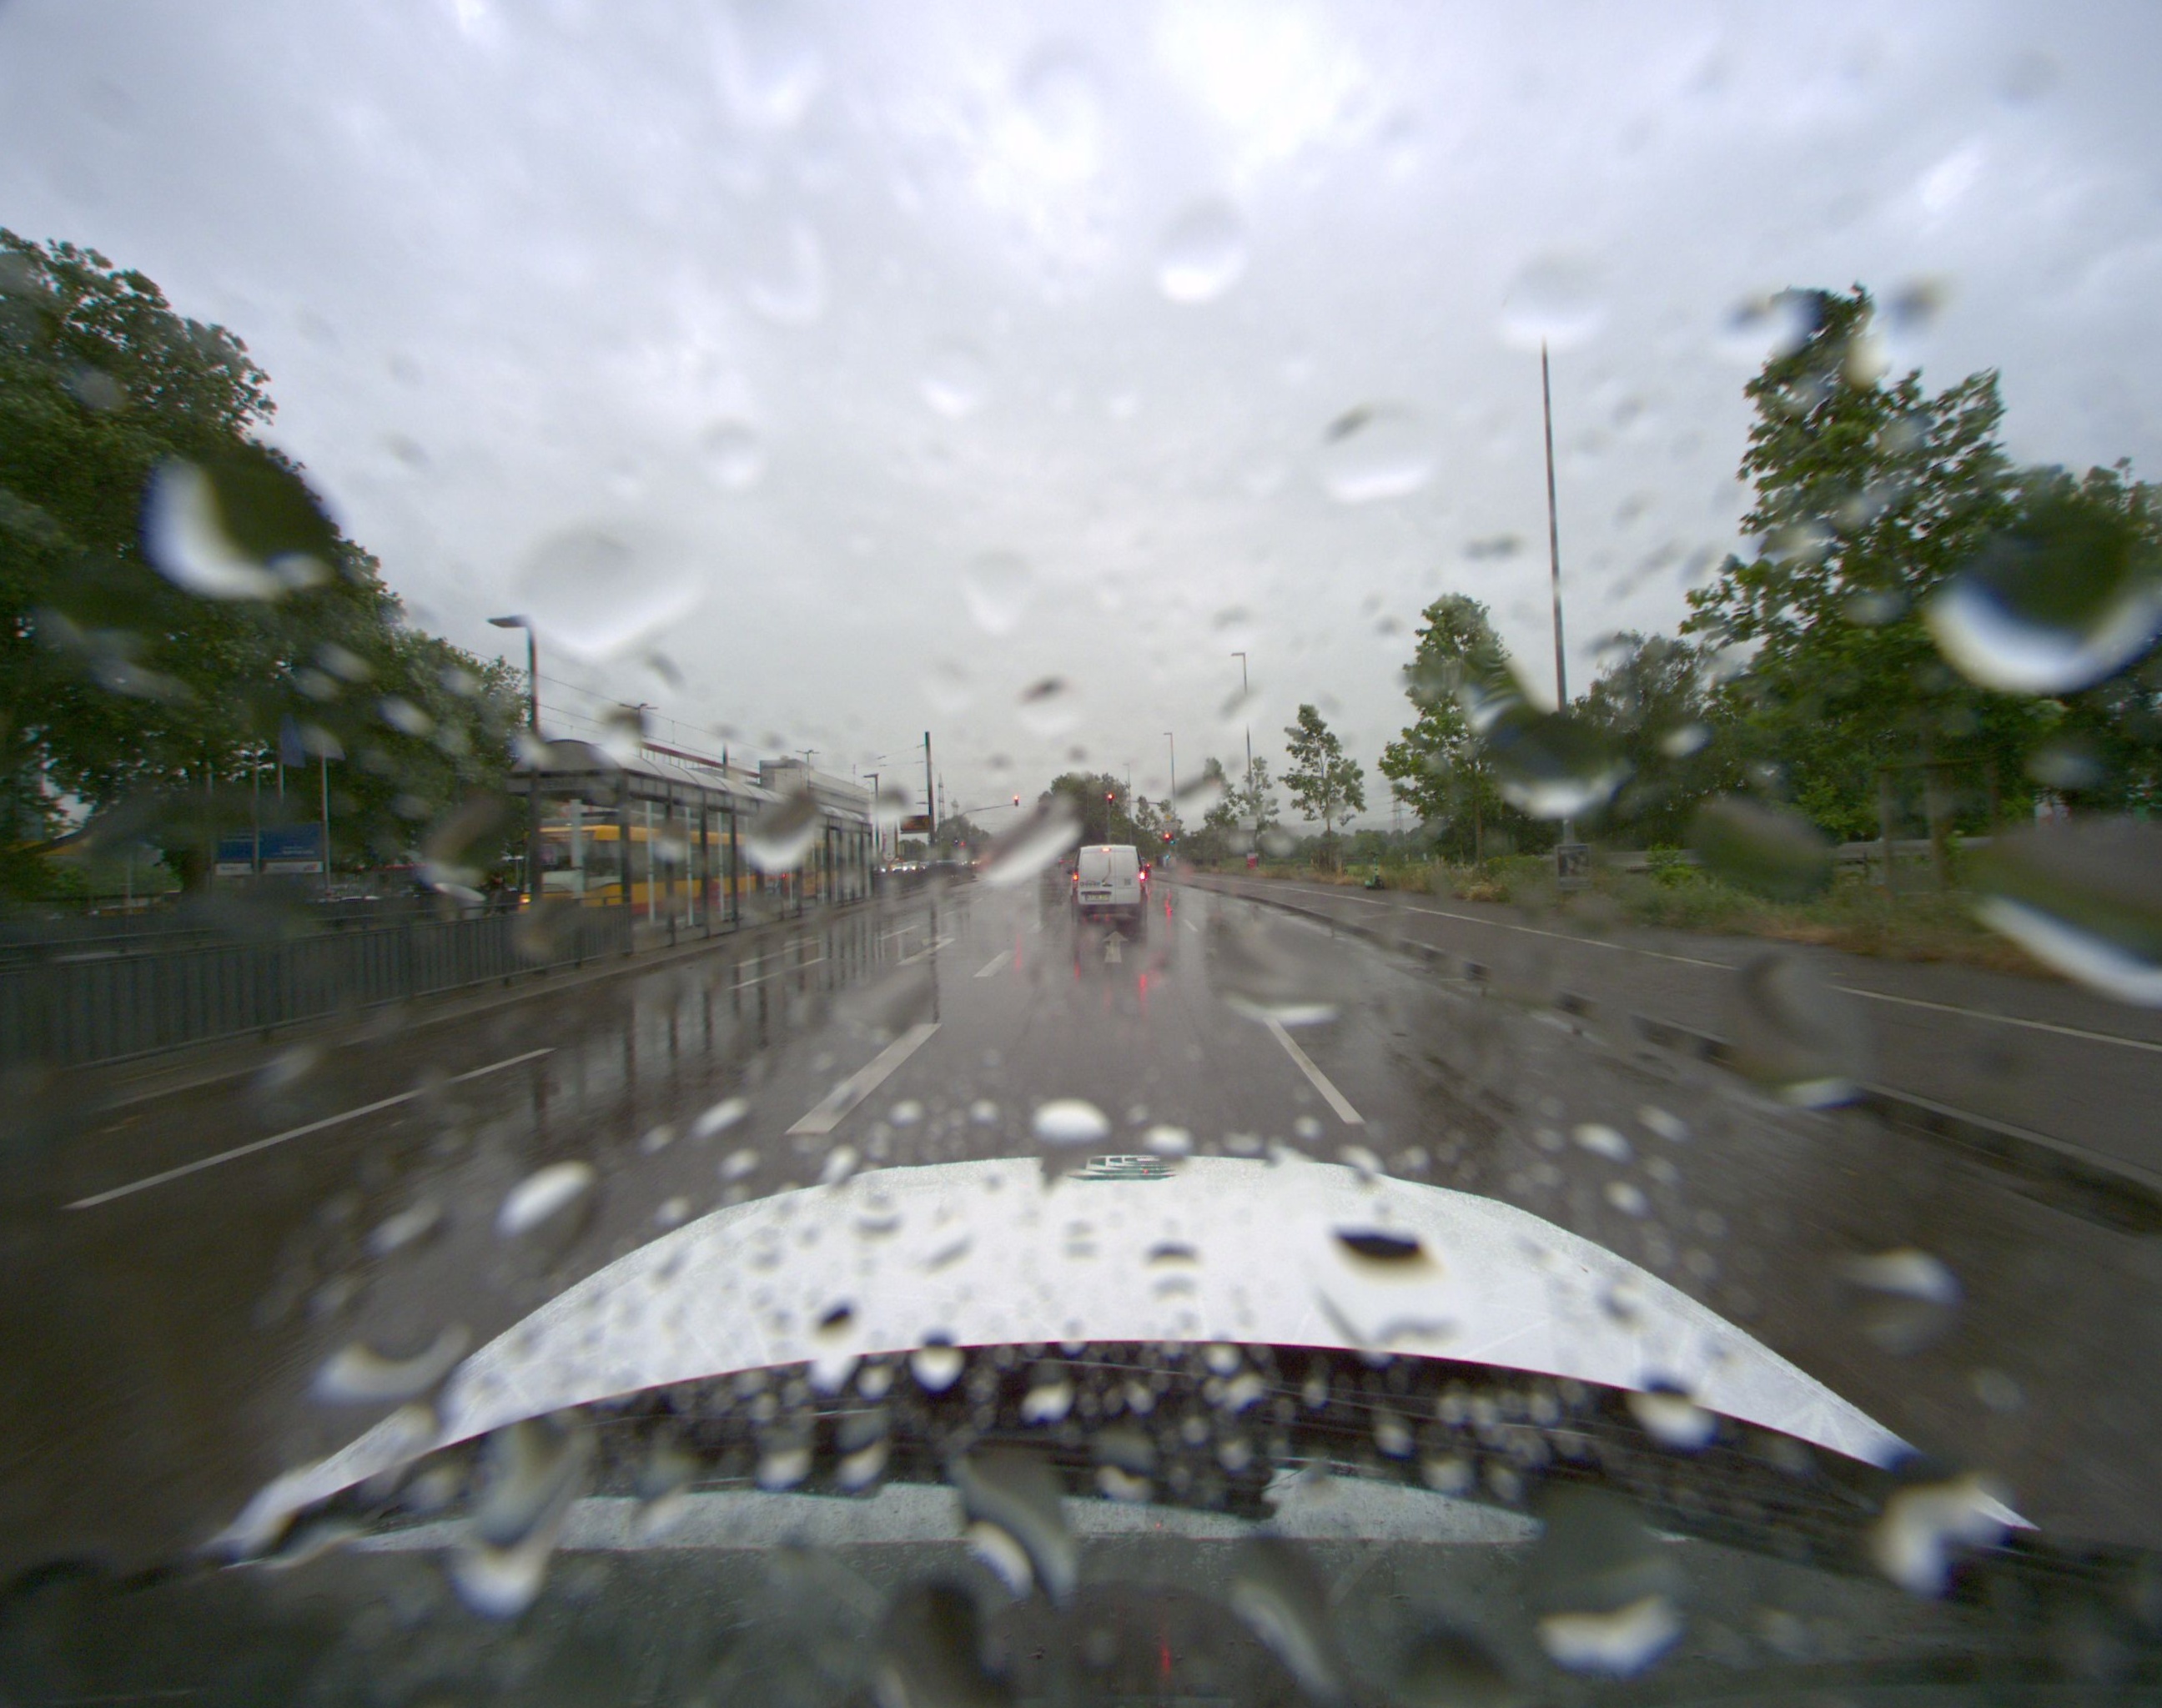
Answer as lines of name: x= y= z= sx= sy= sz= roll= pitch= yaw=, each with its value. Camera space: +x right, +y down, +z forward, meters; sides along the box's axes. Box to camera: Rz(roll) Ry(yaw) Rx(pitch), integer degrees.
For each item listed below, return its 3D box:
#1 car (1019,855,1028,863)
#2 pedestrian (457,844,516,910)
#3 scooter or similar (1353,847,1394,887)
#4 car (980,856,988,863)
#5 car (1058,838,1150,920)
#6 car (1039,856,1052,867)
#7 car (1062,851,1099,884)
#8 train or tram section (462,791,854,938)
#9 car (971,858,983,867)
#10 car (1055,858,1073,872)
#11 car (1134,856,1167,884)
car: x=-12.748 y=1.161 z=181.048 sx=1.991 sy=1.750 sz=3.992 roll=0 pitch=0 yaw=-6
pedestrian: x=-18.760 y=0.714 z=25.733 sx=1.086 sy=2.014 sz=1.094 roll=0 pitch=-1 yaw=-5
scooter or similar: x=9.243 y=0.401 z=25.816 sx=0.641 sy=1.195 sz=1.561 roll=-2 pitch=0 yaw=-2
car: x=-27.419 y=1.653 z=229.736 sx=1.988 sy=2.014 sz=3.997 roll=0 pitch=0 yaw=-2
car: x=0.490 y=0.564 z=20.000 sx=2.019 sy=1.775 sz=4.273 roll=0 pitch=0 yaw=0
car: x=-5.756 y=1.221 z=131.332 sx=1.991 sy=1.750 sz=3.992 roll=0 pitch=0 yaw=-6
car: x=0.007 y=0.749 z=46.124 sx=1.987 sy=1.750 sz=4.000 roll=0 pitch=0 yaw=0
train or tram section: x=-15.414 y=0.354 z=35.972 sx=3.760 sy=4.036 sz=27.075 roll=0 pitch=0 yaw=-1
car: x=-23.343 y=1.996 z=183.647 sx=1.985 sy=2.014 sz=4.003 roll=0 pitch=0 yaw=3
car: x=-2.192 y=1.443 z=104.474 sx=1.991 sy=1.750 sz=3.992 roll=0 pitch=0 yaw=-6
car: x=4.479 y=1.013 z=52.924 sx=1.985 sy=1.750 sz=4.003 roll=0 pitch=0 yaw=3
